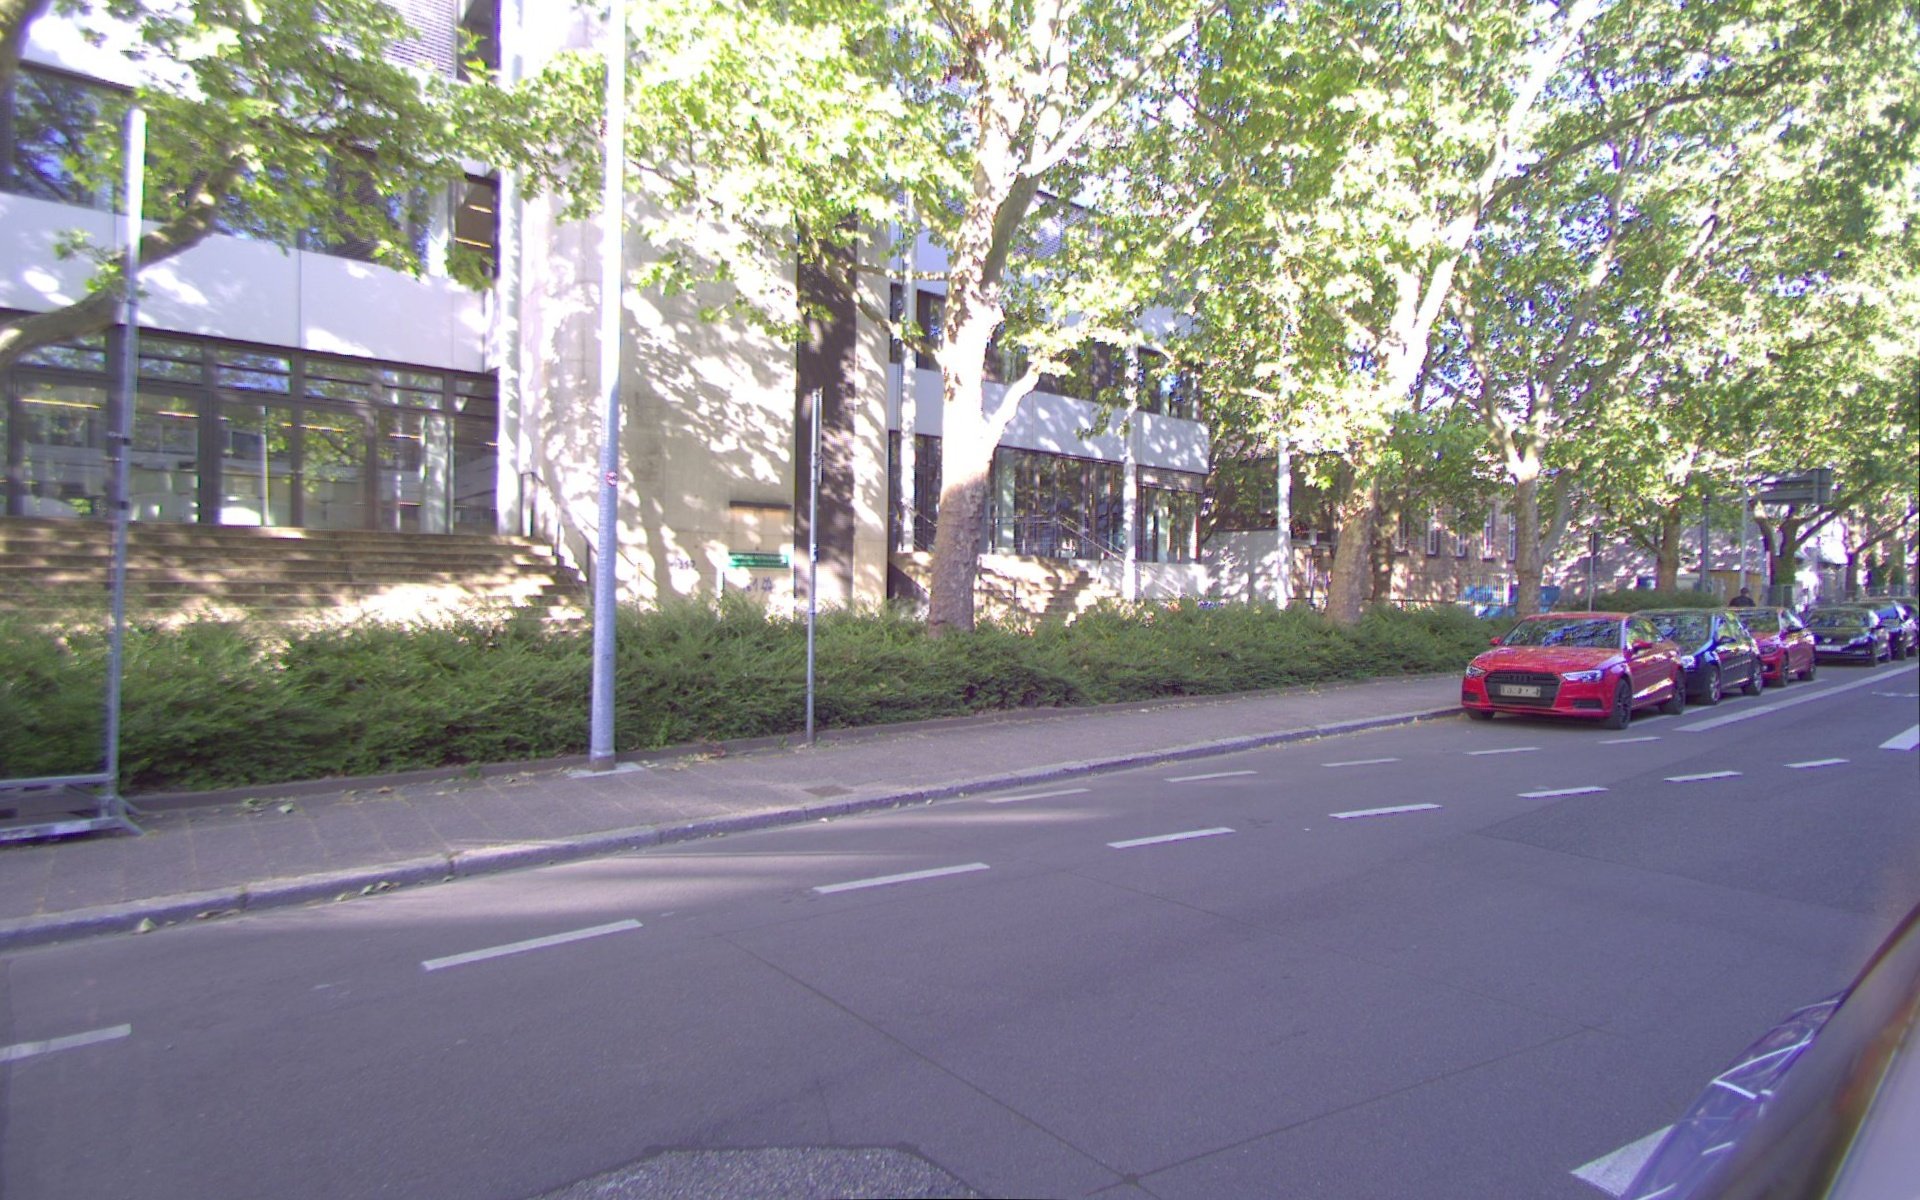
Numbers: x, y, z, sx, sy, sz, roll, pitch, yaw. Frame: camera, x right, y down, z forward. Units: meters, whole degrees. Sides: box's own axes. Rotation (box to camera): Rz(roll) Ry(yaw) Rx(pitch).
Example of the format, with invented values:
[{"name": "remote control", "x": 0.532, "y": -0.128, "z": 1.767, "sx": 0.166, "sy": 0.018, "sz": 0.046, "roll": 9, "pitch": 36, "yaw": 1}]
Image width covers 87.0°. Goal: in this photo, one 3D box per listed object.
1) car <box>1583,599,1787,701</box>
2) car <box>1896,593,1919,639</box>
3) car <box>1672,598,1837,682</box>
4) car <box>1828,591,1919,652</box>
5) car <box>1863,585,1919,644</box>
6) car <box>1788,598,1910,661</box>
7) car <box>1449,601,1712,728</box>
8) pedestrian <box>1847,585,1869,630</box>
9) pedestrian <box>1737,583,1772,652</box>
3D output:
[{"name": "car", "x": 12.022, "y": 0.719, "z": 16.684, "sx": 4.095, "sy": 1.464, "sz": 1.834, "roll": 0, "pitch": 0, "yaw": -41}, {"name": "car", "x": 35.909, "y": 0.581, "z": 37.098, "sx": 4.183, "sy": 1.634, "sz": 1.834, "roll": 0, "pitch": 0, "yaw": -40}, {"name": "car", "x": 15.838, "y": 0.709, "z": 20.099, "sx": 4.095, "sy": 1.486, "sz": 1.834, "roll": 0, "pitch": 0, "yaw": -41}, {"name": "car", "x": 26.560, "y": 0.573, "z": 29.084, "sx": 4.088, "sy": 1.626, "sz": 1.834, "roll": 0, "pitch": 0, "yaw": -40}, {"name": "car", "x": 31.045, "y": 0.439, "z": 32.973, "sx": 4.383, "sy": 1.820, "sz": 1.834, "roll": 0, "pitch": 0, "yaw": -40}, {"name": "car", "x": 22.871, "y": 0.702, "z": 25.990, "sx": 4.095, "sy": 1.486, "sz": 1.834, "roll": 0, "pitch": 0, "yaw": -41}, {"name": "car", "x": 8.403, "y": 0.737, "z": 13.568, "sx": 4.173, "sy": 1.422, "sz": 1.834, "roll": 0, "pitch": 0, "yaw": -41}, {"name": "pedestrian", "x": 36.050, "y": 0.296, "z": 40.623, "sx": 0.583, "sy": 1.818, "sz": 0.600, "roll": 0, "pitch": 0, "yaw": -41}, {"name": "pedestrian", "x": 21.988, "y": 0.472, "z": 28.011, "sx": 0.629, "sy": 1.884, "sz": 0.660, "roll": 0, "pitch": 0, "yaw": -41}]
